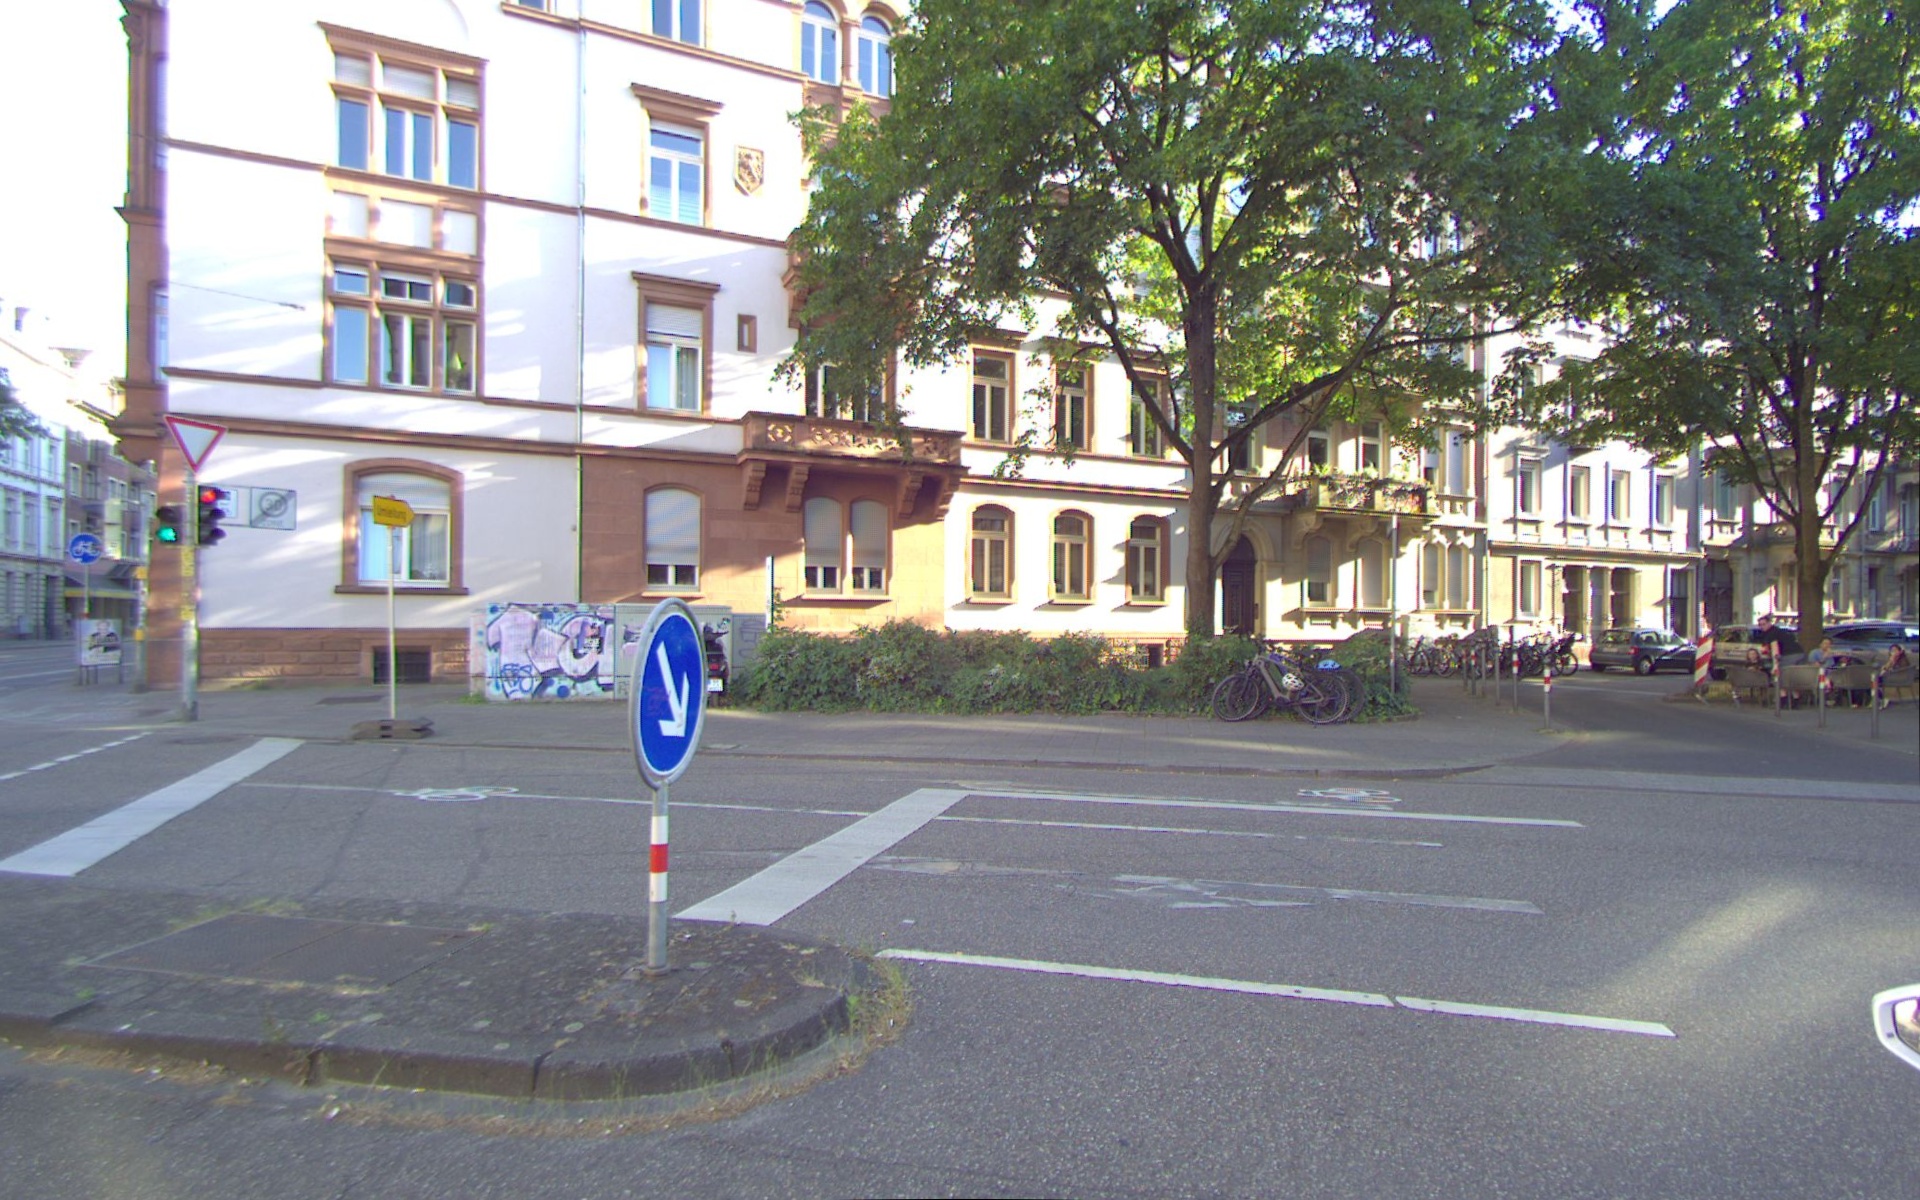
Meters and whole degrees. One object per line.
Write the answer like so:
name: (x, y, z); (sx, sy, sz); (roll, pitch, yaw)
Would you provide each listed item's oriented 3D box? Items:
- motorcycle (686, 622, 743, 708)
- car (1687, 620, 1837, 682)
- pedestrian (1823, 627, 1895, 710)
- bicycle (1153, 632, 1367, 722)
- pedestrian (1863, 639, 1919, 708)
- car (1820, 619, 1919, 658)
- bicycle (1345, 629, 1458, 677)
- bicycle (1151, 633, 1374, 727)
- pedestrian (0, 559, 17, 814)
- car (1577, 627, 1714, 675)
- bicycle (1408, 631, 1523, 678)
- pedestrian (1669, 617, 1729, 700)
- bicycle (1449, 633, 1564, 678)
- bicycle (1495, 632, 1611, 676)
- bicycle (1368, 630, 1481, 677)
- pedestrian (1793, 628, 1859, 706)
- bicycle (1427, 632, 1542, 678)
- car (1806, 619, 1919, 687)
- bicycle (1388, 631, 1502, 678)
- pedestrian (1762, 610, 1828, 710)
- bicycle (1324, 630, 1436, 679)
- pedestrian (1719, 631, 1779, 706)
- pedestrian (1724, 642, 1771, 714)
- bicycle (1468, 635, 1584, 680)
motorcycle: (-3.982, 1.007, 16.261); (0.829, 1.282, 2.104); (1, -1, -14)
car: (23.608, 1.459, 29.580); (3.947, 1.706, 1.987); (1, -1, -26)
pedestrian: (16.267, 1.237, 18.199); (0.752, 1.460, 0.668); (-1, -2, 23)
bicycle: (4.278, 1.079, 14.482); (2.899, 1.212, 0.548); (0, -1, 15)
pedestrian: (17.150, 1.339, 18.404); (0.664, 1.231, 0.668); (-1, -2, 21)
car: (34.146, 1.420, 37.361); (3.699, 1.394, 1.918); (1, -1, -24)
bicycle: (11.880, 1.407, 27.174); (0.741, 1.196, 3.119); (1, -1, -24)
bicycle: (4.134, 1.083, 13.904); (2.899, 1.212, 0.548); (0, -1, 15)
pedestrian: (-6.790, 0.576, 6.485); (0.861, 1.720, 0.975); (1, -1, -35)
car: (21.386, 1.555, 31.355); (3.699, 1.394, 1.918); (1, -1, -24)
bicycle: (14.103, 1.495, 28.170); (0.741, 1.196, 3.119); (1, -1, -24)
pedestrian: (15.374, 1.219, 20.914); (0.751, 1.691, 0.668); (0, -2, 9)
bicycle: (15.601, 1.561, 28.816); (0.741, 1.196, 3.119); (1, -1, -24)
bicycle: (17.400, 1.551, 29.600); (0.741, 1.196, 3.119); (1, -1, -24)
bicycle: (12.649, 1.433, 27.505); (0.741, 1.196, 3.119); (1, -1, -24)
pedestrian: (16.562, 1.272, 19.235); (0.752, 1.460, 0.668); (-1, -2, 23)
bicycle: (14.824, 1.527, 28.517); (0.741, 1.196, 3.119); (1, -1, -24)
car: (22.823, 1.254, 24.043); (3.773, 1.582, 1.797); (-1, -1, 35)
bicycle: (13.362, 1.461, 27.818); (0.741, 1.196, 3.119); (1, -1, -24)
pedestrian: (15.402, 1.098, 18.544); (0.752, 1.793, 0.572); (-1, -2, 23)
bicycle: (11.129, 1.408, 26.807); (0.741, 1.196, 3.119); (1, -1, -24)
pedestrian: (15.530, 1.339, 19.793); (0.752, 1.430, 0.668); (-1, -3, 25)
pedestrian: (15.040, 1.485, 19.188); (0.561, 1.338, 0.505); (-1, -1, 21)
bicycle: (16.356, 1.625, 29.172); (0.741, 1.196, 3.119); (1, -1, -24)
